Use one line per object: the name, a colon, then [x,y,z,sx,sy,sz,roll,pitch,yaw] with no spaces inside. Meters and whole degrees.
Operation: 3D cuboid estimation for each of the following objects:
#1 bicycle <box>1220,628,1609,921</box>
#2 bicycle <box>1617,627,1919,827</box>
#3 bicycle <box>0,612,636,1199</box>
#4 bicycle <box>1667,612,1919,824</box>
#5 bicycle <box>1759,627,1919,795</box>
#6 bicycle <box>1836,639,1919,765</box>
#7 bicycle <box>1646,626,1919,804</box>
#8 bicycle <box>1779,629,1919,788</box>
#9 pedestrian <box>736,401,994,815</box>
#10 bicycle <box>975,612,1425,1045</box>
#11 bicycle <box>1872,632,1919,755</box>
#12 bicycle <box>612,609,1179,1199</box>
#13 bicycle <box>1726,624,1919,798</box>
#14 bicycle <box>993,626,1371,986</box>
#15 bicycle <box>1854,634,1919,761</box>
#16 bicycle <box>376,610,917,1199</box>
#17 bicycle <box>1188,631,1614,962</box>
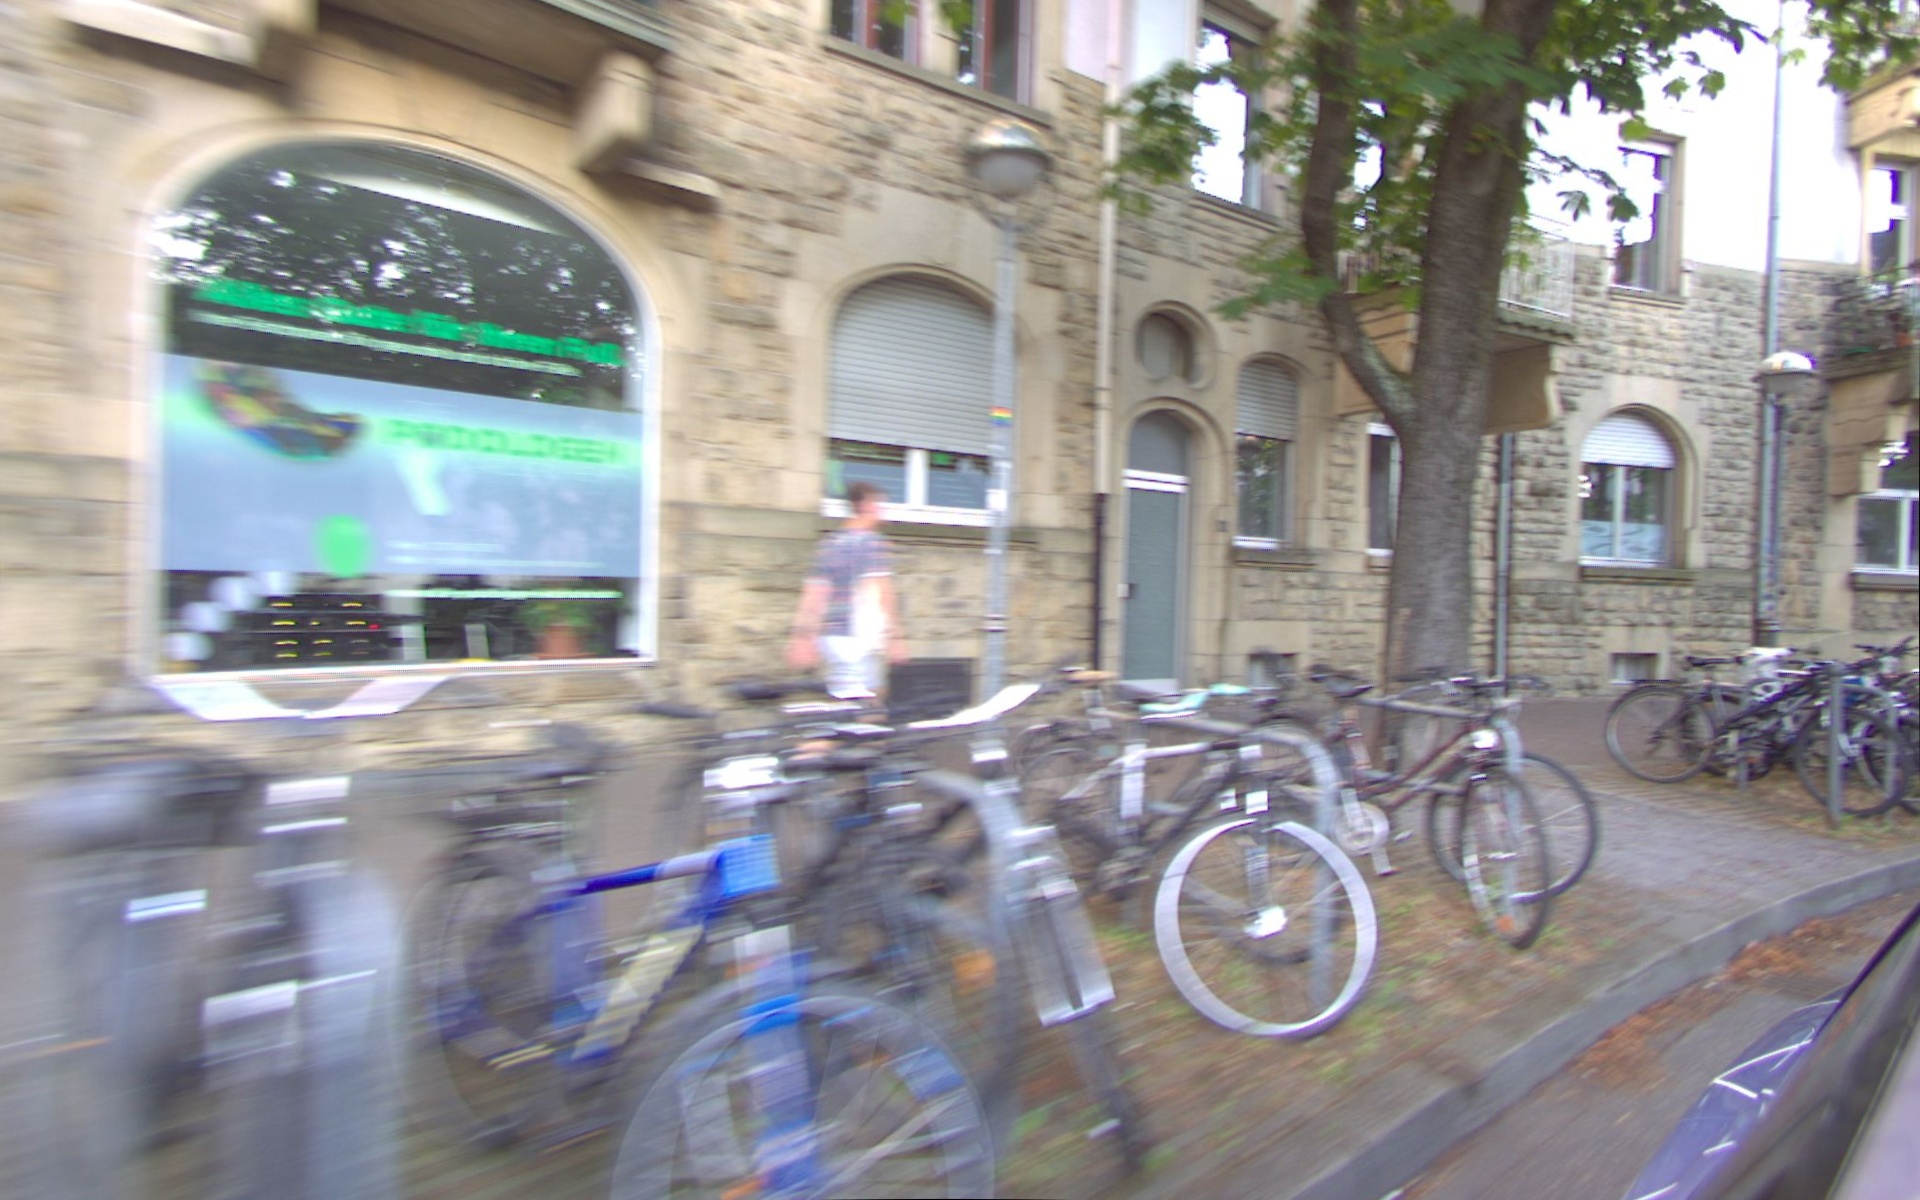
bicycle: [2.124,0.738,4.949,0.477,1.091,1.674,1,2,-38]
bicycle: [5.672,0.811,6.939,0.482,1.154,1.886,5,-2,-34]
bicycle: [-1.390,0.662,1.886,1.885,1.177,0.631,3,2,43]
bicycle: [6.080,0.768,7.074,0.482,1.231,1.889,-5,4,-21]
bicycle: [7.307,0.872,7.685,0.412,1.138,1.860,-18,8,-19]
bicycle: [8.356,0.889,8.235,0.410,1.012,1.860,1,2,-21]
bicycle: [6.358,0.816,7.632,0.564,1.118,1.851,1,2,-44]
bicycle: [7.556,0.879,7.793,0.412,1.099,1.860,-18,8,-19]
pedestrian: [-0.569,0.029,5.870,1.040,2.111,1.014,2,1,-35]
bicycle: [0.752,0.683,3.722,0.476,1.142,1.677,8,-2,-30]
bicycle: [9.047,0.875,8.560,0.524,1.074,1.925,1,2,-20]
bicycle: [-0.341,0.662,2.936,0.691,1.177,1.891,1,2,-37]
bicycle: [6.911,0.818,7.619,0.410,1.159,1.860,1,2,-21]
bicycle: [0.808,0.704,4.192,0.476,1.091,1.677,1,2,-31]
bicycle: [8.621,0.876,8.344,0.410,1.064,1.860,1,2,-21]
bicycle: [-0.913,0.658,2.454,0.629,1.177,1.891,1,2,-37]
bicycle: [1.845,0.739,4.485,0.477,1.091,1.674,1,2,-38]
